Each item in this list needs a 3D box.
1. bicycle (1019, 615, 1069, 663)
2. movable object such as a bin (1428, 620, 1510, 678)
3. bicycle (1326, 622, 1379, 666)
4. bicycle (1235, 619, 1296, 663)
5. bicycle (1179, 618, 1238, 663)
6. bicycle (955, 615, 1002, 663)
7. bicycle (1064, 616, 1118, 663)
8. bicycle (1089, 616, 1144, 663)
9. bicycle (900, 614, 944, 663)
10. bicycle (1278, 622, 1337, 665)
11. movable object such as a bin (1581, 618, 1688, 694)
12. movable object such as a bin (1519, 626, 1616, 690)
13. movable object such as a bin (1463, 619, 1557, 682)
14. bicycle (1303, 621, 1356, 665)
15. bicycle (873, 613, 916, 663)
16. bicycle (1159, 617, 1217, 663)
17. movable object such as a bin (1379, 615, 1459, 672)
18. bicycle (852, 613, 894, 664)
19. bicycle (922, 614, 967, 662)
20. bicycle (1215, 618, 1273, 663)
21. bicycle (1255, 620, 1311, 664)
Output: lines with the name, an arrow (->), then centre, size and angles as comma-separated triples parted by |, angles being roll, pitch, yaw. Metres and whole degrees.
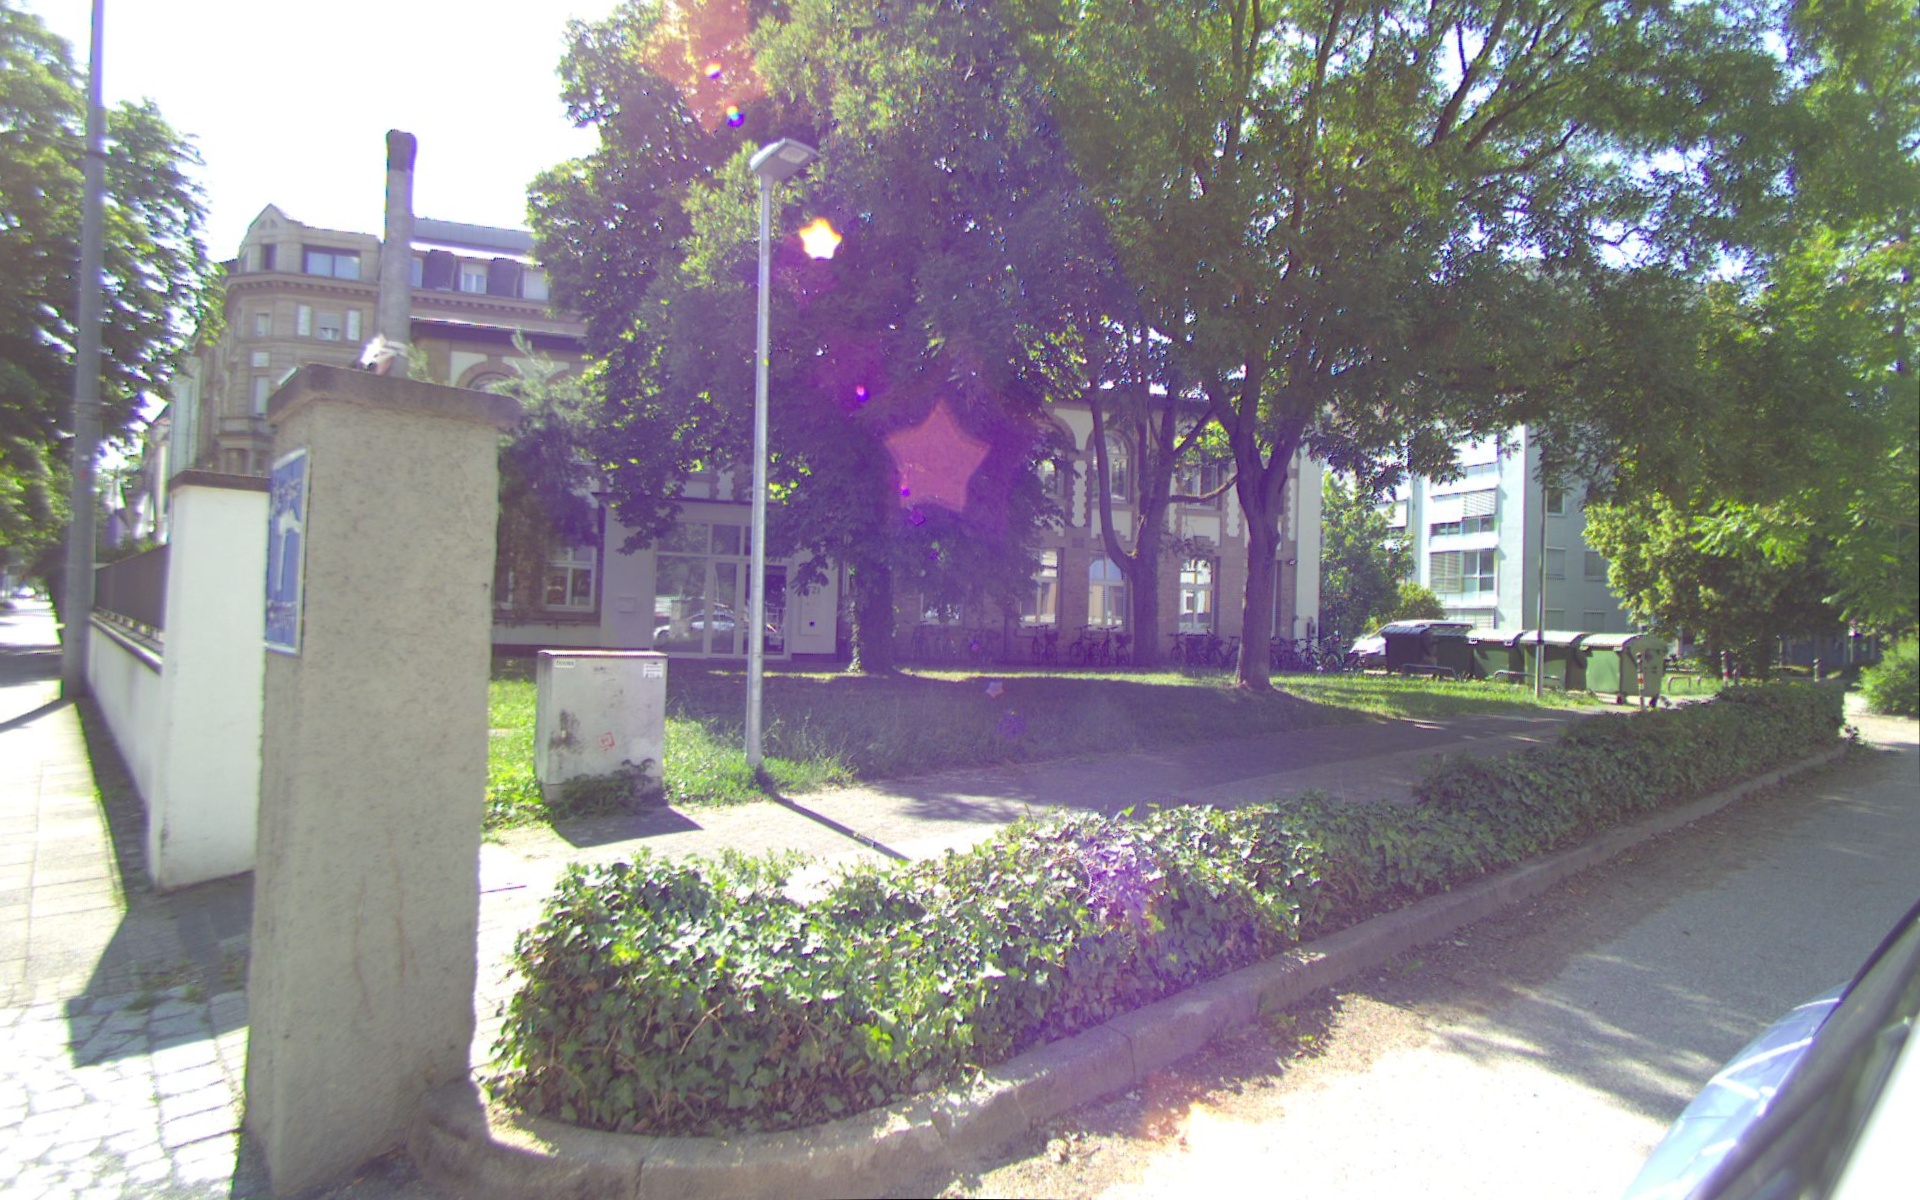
bicycle -> 2.197, 1.006, 26.749 | 0.575, 1.176, 2.107 | 2, -1, -17
movable object such as a bin -> 12.576, 1.191, 25.060 | 1.190, 1.366, 1.355 | 2, -1, -20
bicycle -> 11.202, 1.233, 28.953 | 0.546, 1.176, 1.947 | 1, -1, -7
bicycle -> 8.589, 1.141, 28.552 | 0.575, 1.176, 2.107 | 2, -1, -17
bicycle -> 6.853, 1.102, 28.065 | 0.575, 1.176, 2.107 | 2, -1, -17
bicycle -> 0.460, 0.991, 26.310 | 0.575, 1.176, 2.107 | 2, -1, -17
bicycle -> 3.484, 1.047, 27.098 | 0.575, 1.176, 2.107 | 2, -1, -17
bicycle -> 4.200, 1.051, 27.352 | 0.575, 1.176, 2.107 | 2, -1, -17
bicycle -> -0.979, 0.948, 25.812 | 0.575, 1.176, 2.107 | 2, -1, -17
bicycle -> 9.924, 1.226, 28.988 | 0.600, 1.176, 1.855 | 2, -1, -17
movable object such as a bin -> 13.766, 1.121, 20.701 | 1.191, 1.481, 1.393 | 1, -1, -5
movable object such as a bin -> 13.264, 1.253, 22.123 | 1.190, 1.317, 1.358 | 2, -1, -20
movable object such as a bin -> 12.776, 1.153, 23.542 | 1.190, 1.379, 1.505 | 2, -1, -20
bicycle -> 10.575, 1.211, 29.023 | 0.496, 1.176, 1.808 | 2, -1, -12
bicycle -> -1.674, 0.939, 25.605 | 0.575, 1.176, 2.107 | 2, -1, -17
bicycle -> 6.242, 1.075, 27.822 | 0.575, 1.176, 2.107 | 2, -1, -17
movable object such as a bin -> 12.020, 1.126, 26.537 | 1.224, 1.427, 1.439 | 2, -1, -21
bicycle -> -2.161, 0.922, 24.995 | 0.575, 1.176, 2.107 | 2, -1, -17
bicycle -> -0.431, 0.953, 26.108 | 0.575, 1.176, 2.107 | 2, -1, -17
bicycle -> 7.909, 1.108, 28.272 | 0.575, 1.176, 1.925 | 2, -1, -17
bicycle -> 9.132, 1.166, 28.694 | 0.484, 1.176, 1.918 | 2, -1, -17
